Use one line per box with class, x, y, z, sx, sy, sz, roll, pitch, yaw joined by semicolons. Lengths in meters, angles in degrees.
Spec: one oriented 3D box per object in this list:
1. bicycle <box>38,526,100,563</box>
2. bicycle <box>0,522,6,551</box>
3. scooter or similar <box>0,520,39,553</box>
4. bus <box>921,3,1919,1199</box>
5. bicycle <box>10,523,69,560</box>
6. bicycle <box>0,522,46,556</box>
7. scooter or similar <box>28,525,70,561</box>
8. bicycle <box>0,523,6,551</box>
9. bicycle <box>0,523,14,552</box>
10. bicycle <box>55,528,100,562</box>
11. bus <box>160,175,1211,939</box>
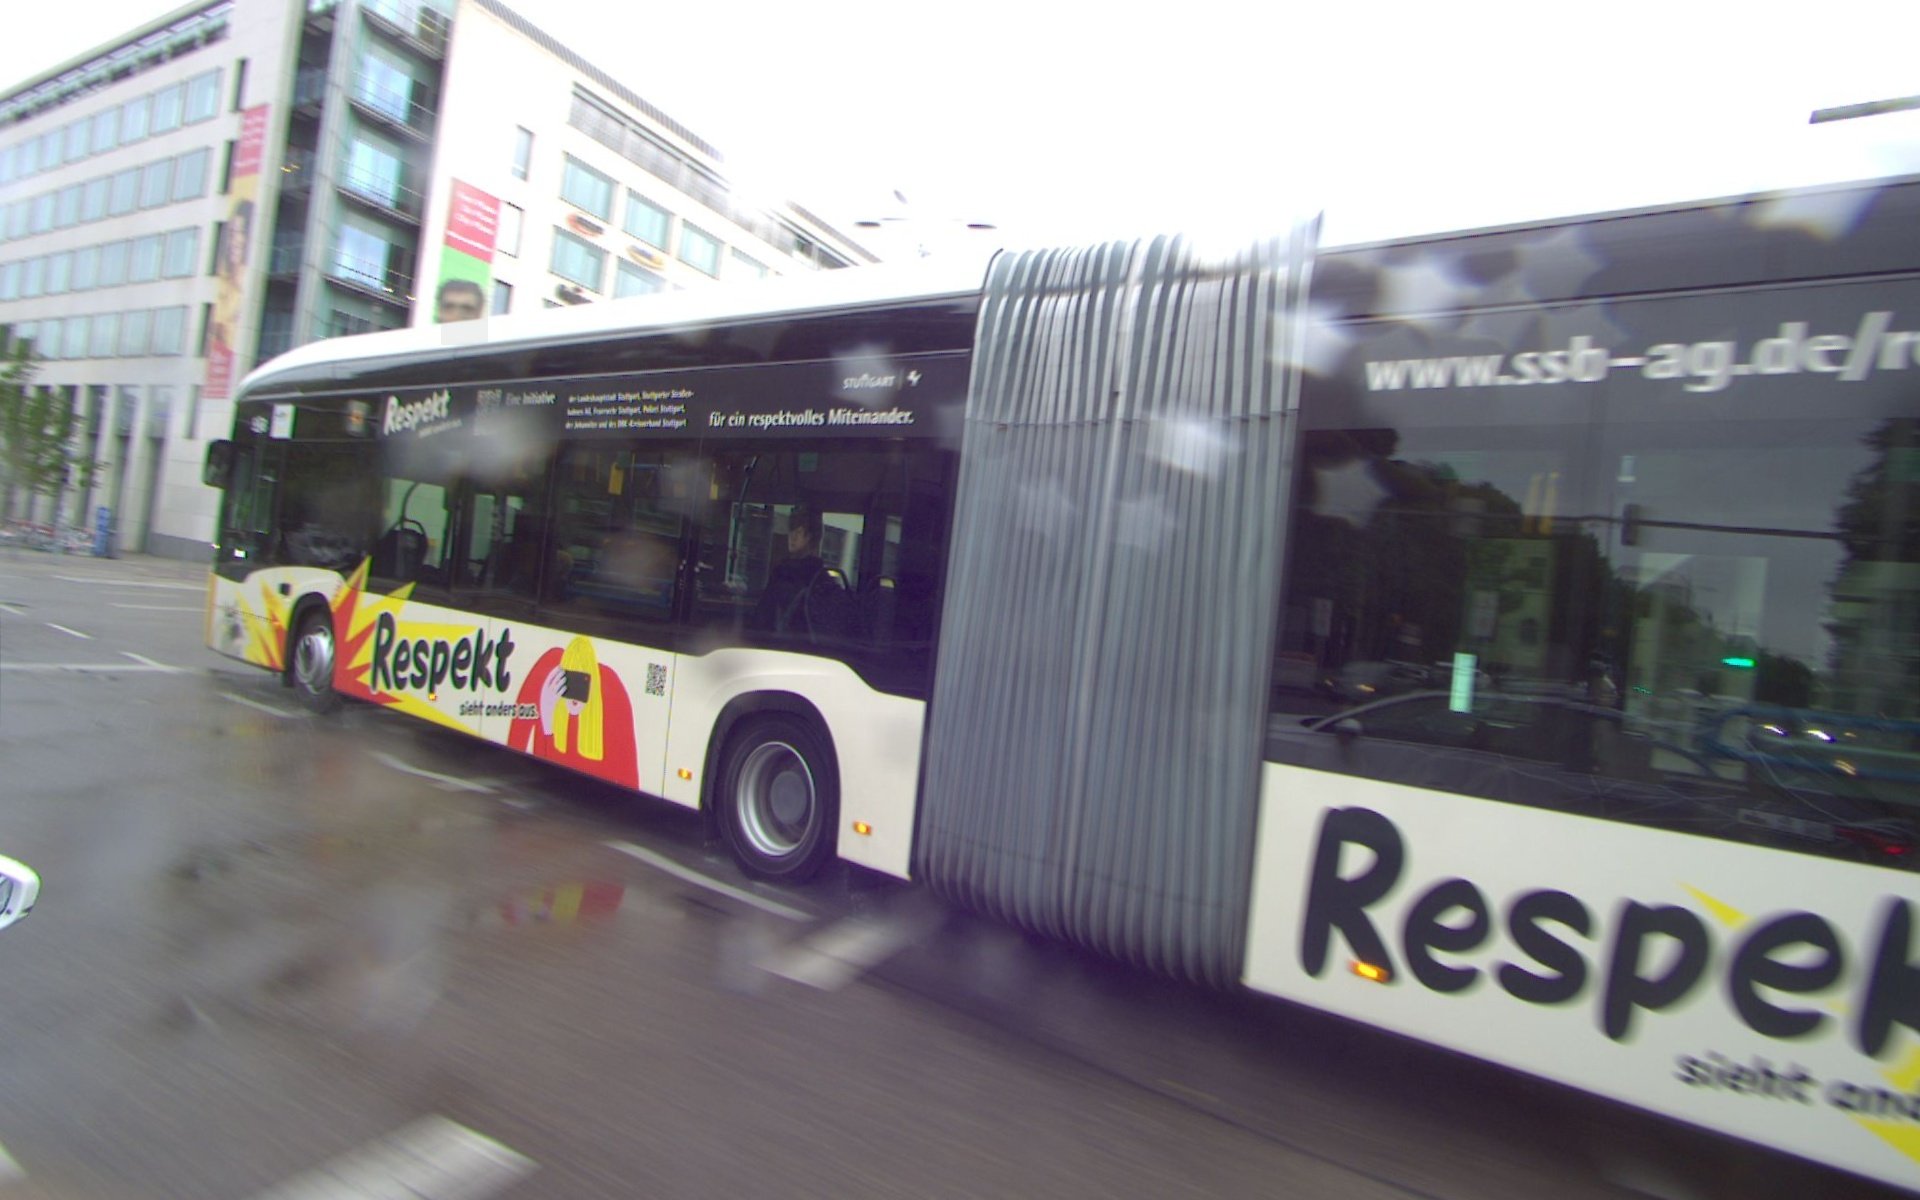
bicycle;-34.470;-2.131;38.938;1.610;1.208;0.582;8;-2;-30
bicycle;-41.537;-2.792;42.375;0.577;1.208;1.779;5;-2;36
scooter or similar;-39.706;-2.687;41.939;0.577;1.208;1.779;5;-2;36
bus;4.718;0.403;2.873;9.558;3.480;2.885;7;-1;35
bicycle;-36.017;-2.290;39.364;1.749;1.208;0.587;6;-1;6
bicycle;-40.019;-2.609;42.582;0.577;1.208;1.779;5;-2;36
scooter or similar;-34.337;-2.160;37.926;0.949;1.208;0.454;7;-1;-16
bicycle;-41.965;-2.820;42.856;0.577;1.208;1.779;5;-2;36
bicycle;-42.465;-2.839;43.729;0.577;1.208;1.779;5;-2;36
bicycle;-35.745;-2.197;40.760;0.578;1.208;1.778;7;-2;-17
bus;-3.154;-0.389;8.539;9.606;3.490;2.885;5;-2;35
